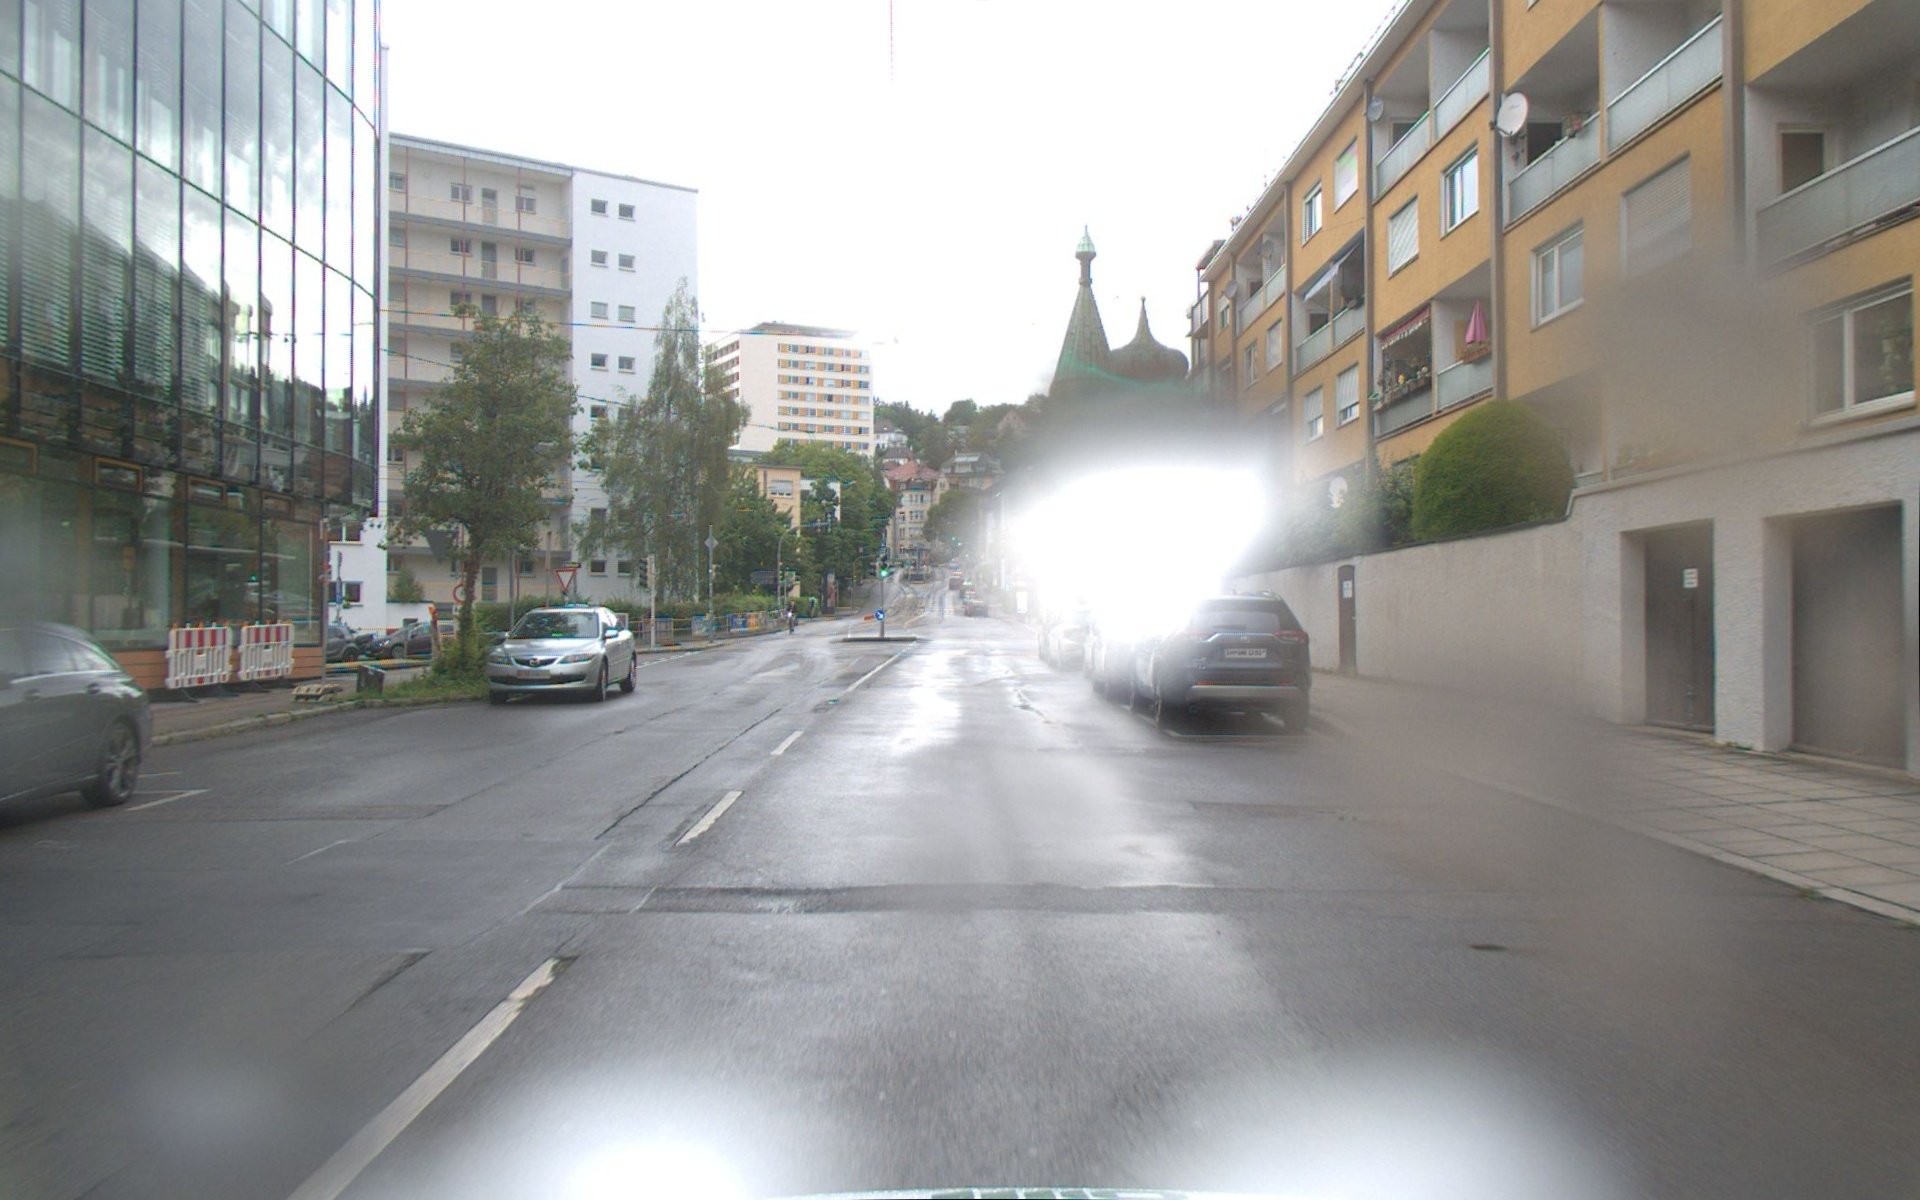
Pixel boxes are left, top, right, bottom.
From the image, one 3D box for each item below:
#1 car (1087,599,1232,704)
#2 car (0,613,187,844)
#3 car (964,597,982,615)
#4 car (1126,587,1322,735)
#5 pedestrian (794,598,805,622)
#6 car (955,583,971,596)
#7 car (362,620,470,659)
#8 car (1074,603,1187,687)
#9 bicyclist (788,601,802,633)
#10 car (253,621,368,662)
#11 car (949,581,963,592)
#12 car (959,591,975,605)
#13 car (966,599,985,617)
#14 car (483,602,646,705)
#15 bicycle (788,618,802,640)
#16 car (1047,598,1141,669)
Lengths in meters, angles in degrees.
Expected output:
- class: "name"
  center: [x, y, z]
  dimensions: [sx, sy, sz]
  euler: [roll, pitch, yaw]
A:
- class: "car"
  center: [3.169, 0.778, 26.948]
  dimensions: [1.781, 1.549, 4.075]
  euler: [1, 0, -1]
- class: "car"
  center: [-7.056, 0.846, 11.057]
  dimensions: [1.767, 1.476, 4.655]
  euler: [-1, -1, -3]
- class: "car"
  center: [1.304, 0.643, 167.225]
  dimensions: [1.813, 1.797, 4.000]
  euler: [1, 0, 1]
- class: "car"
  center: [3.260, 0.712, 21.185]
  dimensions: [1.781, 1.681, 4.075]
  euler: [1, 0, -1]
- class: "pedestrian"
  center: [-13.142, 0.801, 135.489]
  dimensions: [0.870, 1.926, 0.921]
  euler: [0, 0, -7]
- class: "car"
  center: [0.410, -1.273, 208.531]
  dimensions: [1.869, 1.537, 3.999]
  euler: [1, 0, -1]
- class: "car"
  center: [-22.759, 1.626, 69.252]
  dimensions: [3.961, 1.537, 1.775]
  euler: [0, 0, -39]
- class: "car"
  center: [3.395, 0.864, 33.606]
  dimensions: [1.781, 1.549, 4.075]
  euler: [1, 0, -1]
- class: "bicyclist"
  center: [-8.596, 0.885, 86.241]
  dimensions: [0.663, 1.690, 0.649]
  euler: [0, -1, -4]
- class: "car"
  center: [-26.053, 1.649, 66.383]
  dimensions: [3.961, 1.537, 1.775]
  euler: [0, 0, -39]
- class: "car"
  center: [-0.595, -1.860, 232.630]
  dimensions: [1.869, 1.537, 3.999]
  euler: [1, 0, -1]
- class: "car"
  center: [0.808, -0.251, 192.242]
  dimensions: [1.854, 1.537, 3.999]
  euler: [1, 0, -1]
- class: "car"
  center: [1.448, 0.754, 155.895]
  dimensions: [1.696, 1.682, 4.001]
  euler: [0, 0, 2]
- class: "car"
  center: [-6.240, 0.817, 26.551]
  dimensions: [1.675, 1.476, 4.292]
  euler: [-1, -1, -2]
- class: "bicycle"
  center: [-8.594, 1.491, 86.198]
  dimensions: [0.663, 1.127, 1.799]
  euler: [0, -1, -4]
- class: "car"
  center: [3.070, 0.744, 38.681]
  dimensions: [1.781, 1.549, 4.075]
  euler: [1, 0, -1]
